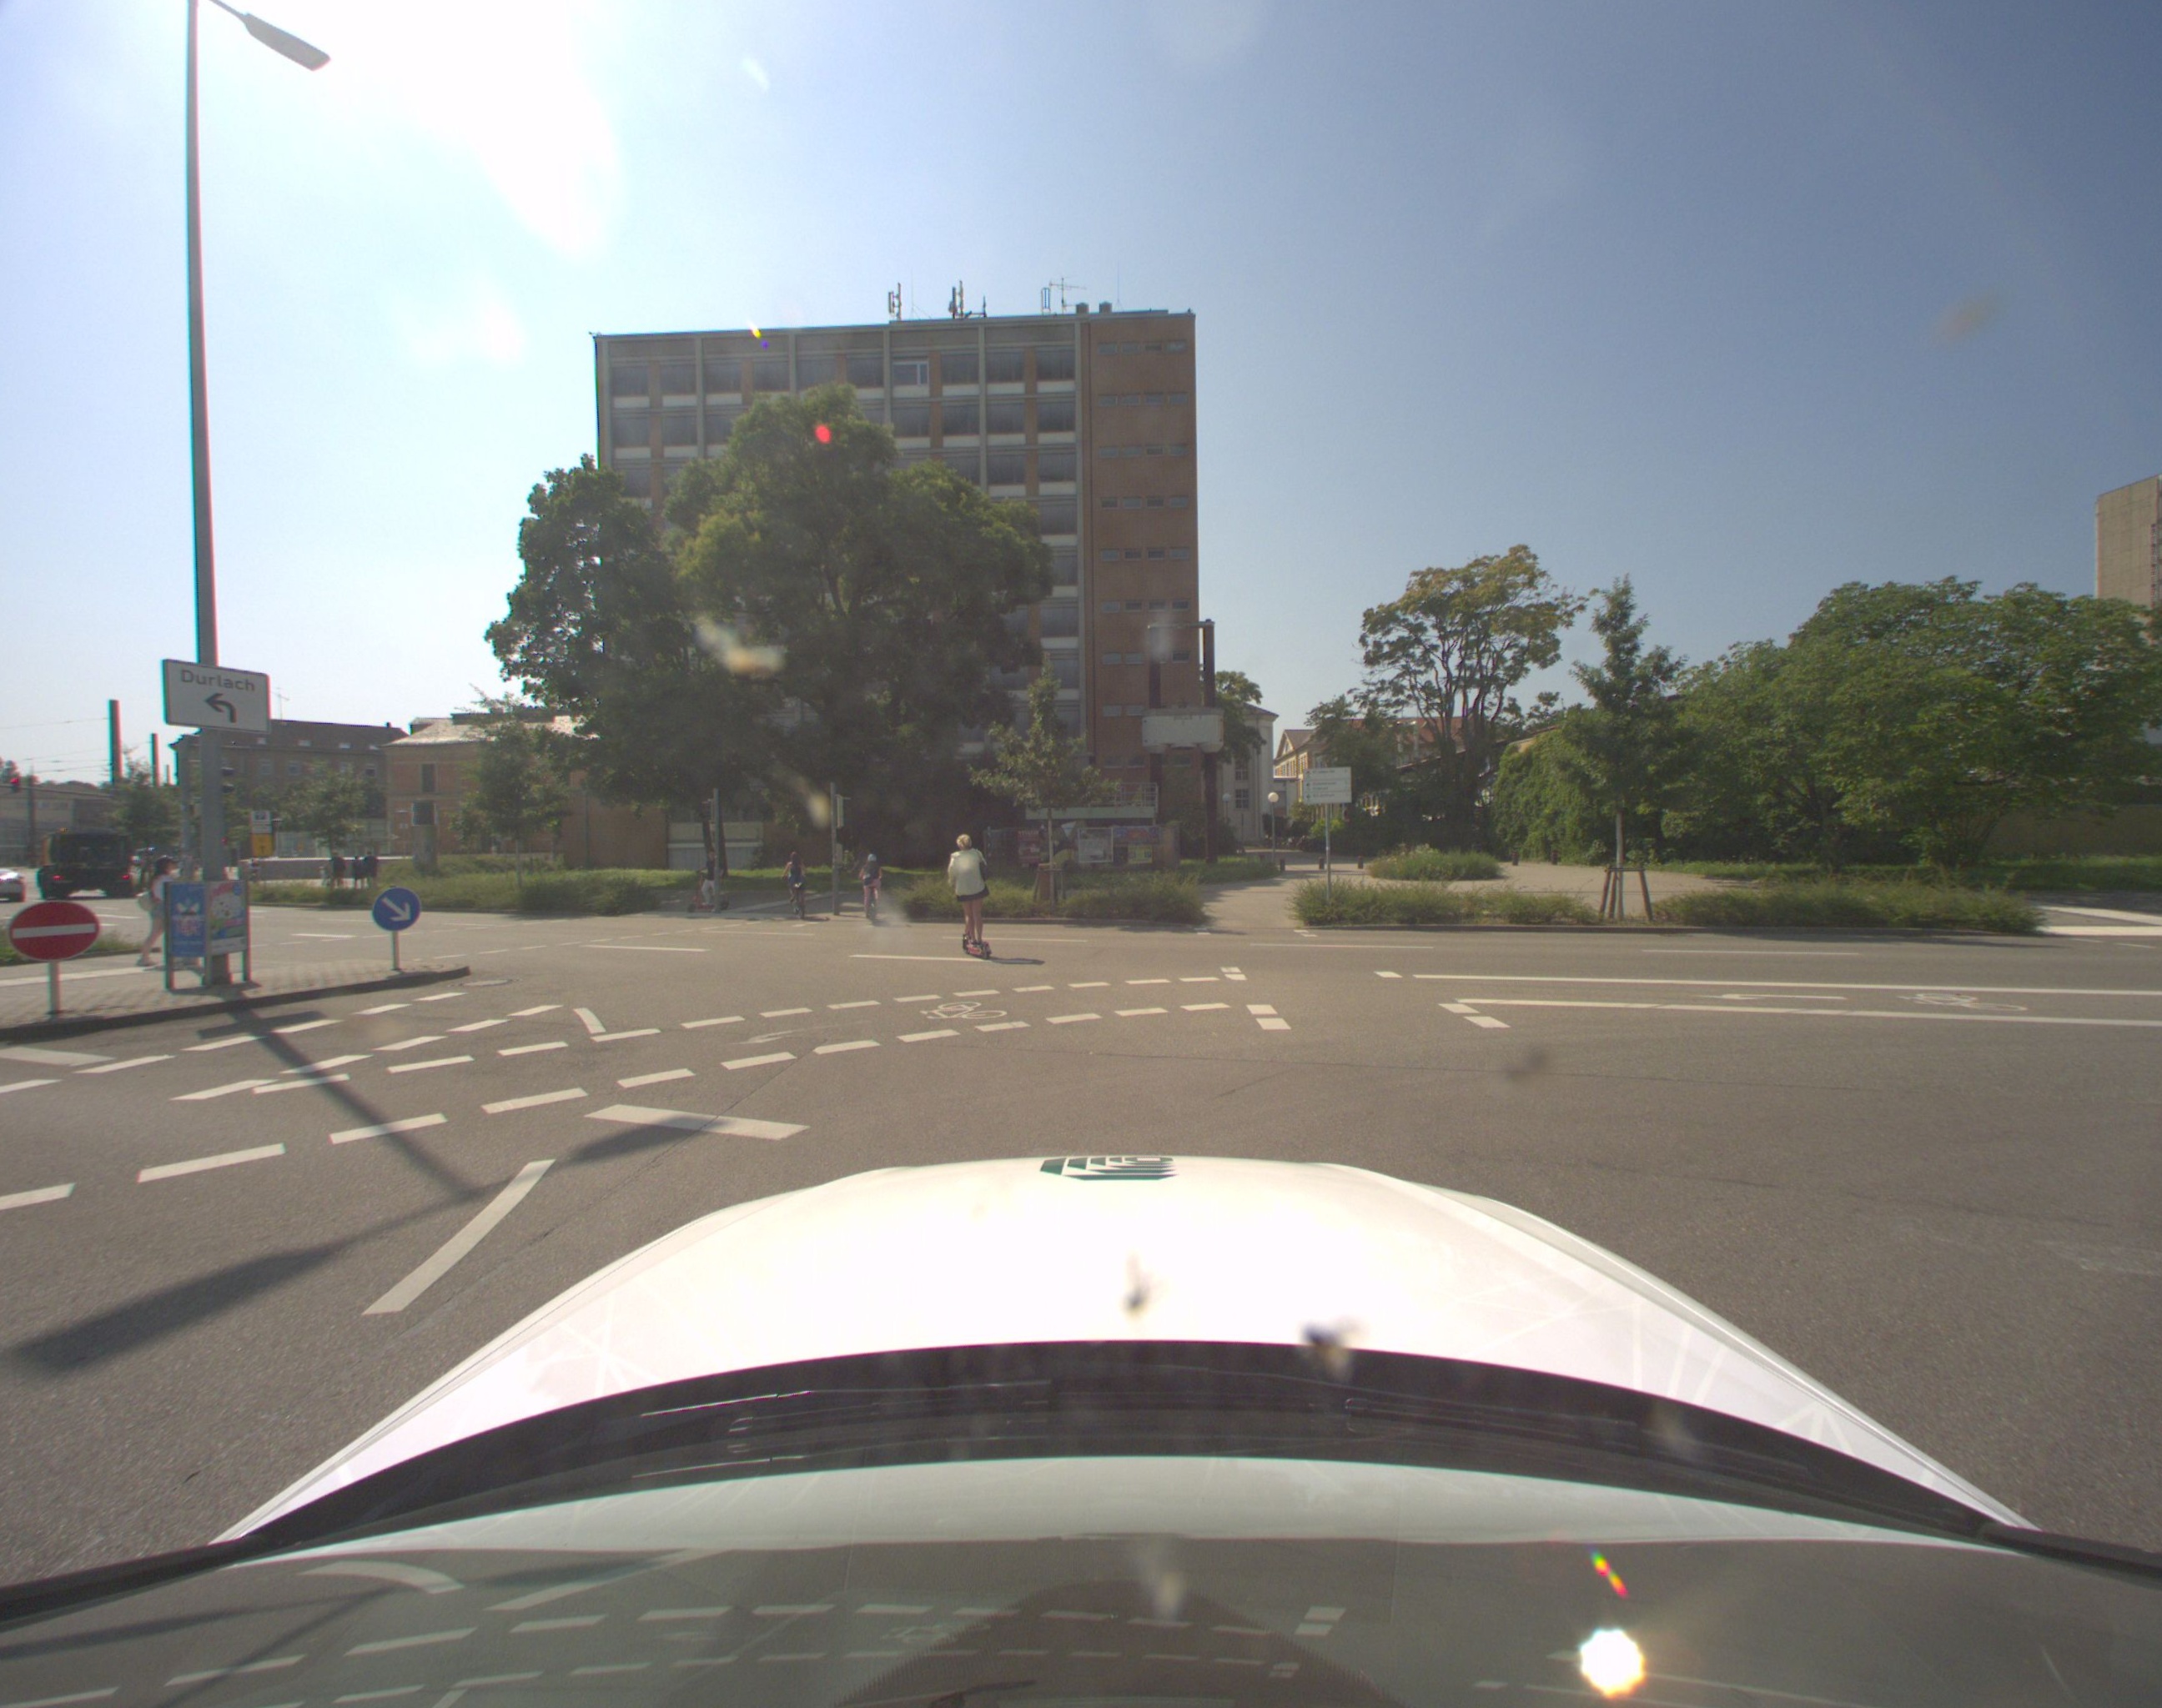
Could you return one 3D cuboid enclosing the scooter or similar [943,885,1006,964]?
[{"bbox_3d":[-1.695,1.048,12.692,0.558,1.060,1.991,-1,0,-19],"label":"scooter or similar"}]

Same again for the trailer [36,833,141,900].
[{"bbox_3d":[-47.497,0.578,38.936,6.243,3.008,2.486,0,-1,33],"label":"trailer"}]

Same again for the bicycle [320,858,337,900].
[{"bbox_3d":[-34.207,1.119,37.008,1.346,1.860,0.459,0,1,44],"label":"bicycle"}]

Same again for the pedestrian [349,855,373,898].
[{"bbox_3d":[-33.573,1.047,37.973,0.785,1.973,0.744,-2,1,-43],"label":"pedestrian"}]

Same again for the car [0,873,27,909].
[{"bbox_3d":[-47.743,1.613,35.535,4.368,1.455,1.775,0,0,33],"label":"car"}]

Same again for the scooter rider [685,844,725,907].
[{"bbox_3d":[-10.765,0.610,23.320,0.680,1.739,0.810,0,2,45],"label":"scooter rider"}]

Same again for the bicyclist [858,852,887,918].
[{"bbox_3d":[-4.927,0.710,19.251,0.550,1.496,0.798,-1,1,-20],"label":"bicyclist"}]

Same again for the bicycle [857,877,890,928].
[{"bbox_3d":[-4.957,1.118,19.359,0.558,1.060,1.991,-1,1,-20],"label":"bicycle"}]

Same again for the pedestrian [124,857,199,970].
[{"bbox_3d":[-14.457,0.909,12.825,0.600,1.694,0.704,0,1,44],"label":"pedestrian"}]

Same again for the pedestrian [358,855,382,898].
[{"bbox_3d":[-33.874,1.062,38.813,0.785,1.973,0.744,-2,1,-43],"label":"pedestrian"}]

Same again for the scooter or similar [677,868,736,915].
[{"bbox_3d":[-10.758,1.058,23.400,0.578,1.234,1.376,0,2,44],"label":"scooter or similar"}]

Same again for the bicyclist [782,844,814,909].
[{"bbox_3d":[-7.388,0.561,21.235,0.693,1.598,0.838,-3,3,-20],"label":"bicyclist"}]

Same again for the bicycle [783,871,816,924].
[{"bbox_3d":[-7.298,1.084,21.057,0.696,1.154,2.355,-3,3,-20],"label":"bicycle"}]

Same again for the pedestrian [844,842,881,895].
[{"bbox_3d":[-7.246,0.463,27.045,0.869,1.704,0.712,-1,3,21],"label":"pedestrian"}]

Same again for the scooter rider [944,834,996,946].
[{"bbox_3d":[-1.753,0.556,12.825,0.672,1.699,0.535,-1,0,-20],"label":"scooter rider"}]
